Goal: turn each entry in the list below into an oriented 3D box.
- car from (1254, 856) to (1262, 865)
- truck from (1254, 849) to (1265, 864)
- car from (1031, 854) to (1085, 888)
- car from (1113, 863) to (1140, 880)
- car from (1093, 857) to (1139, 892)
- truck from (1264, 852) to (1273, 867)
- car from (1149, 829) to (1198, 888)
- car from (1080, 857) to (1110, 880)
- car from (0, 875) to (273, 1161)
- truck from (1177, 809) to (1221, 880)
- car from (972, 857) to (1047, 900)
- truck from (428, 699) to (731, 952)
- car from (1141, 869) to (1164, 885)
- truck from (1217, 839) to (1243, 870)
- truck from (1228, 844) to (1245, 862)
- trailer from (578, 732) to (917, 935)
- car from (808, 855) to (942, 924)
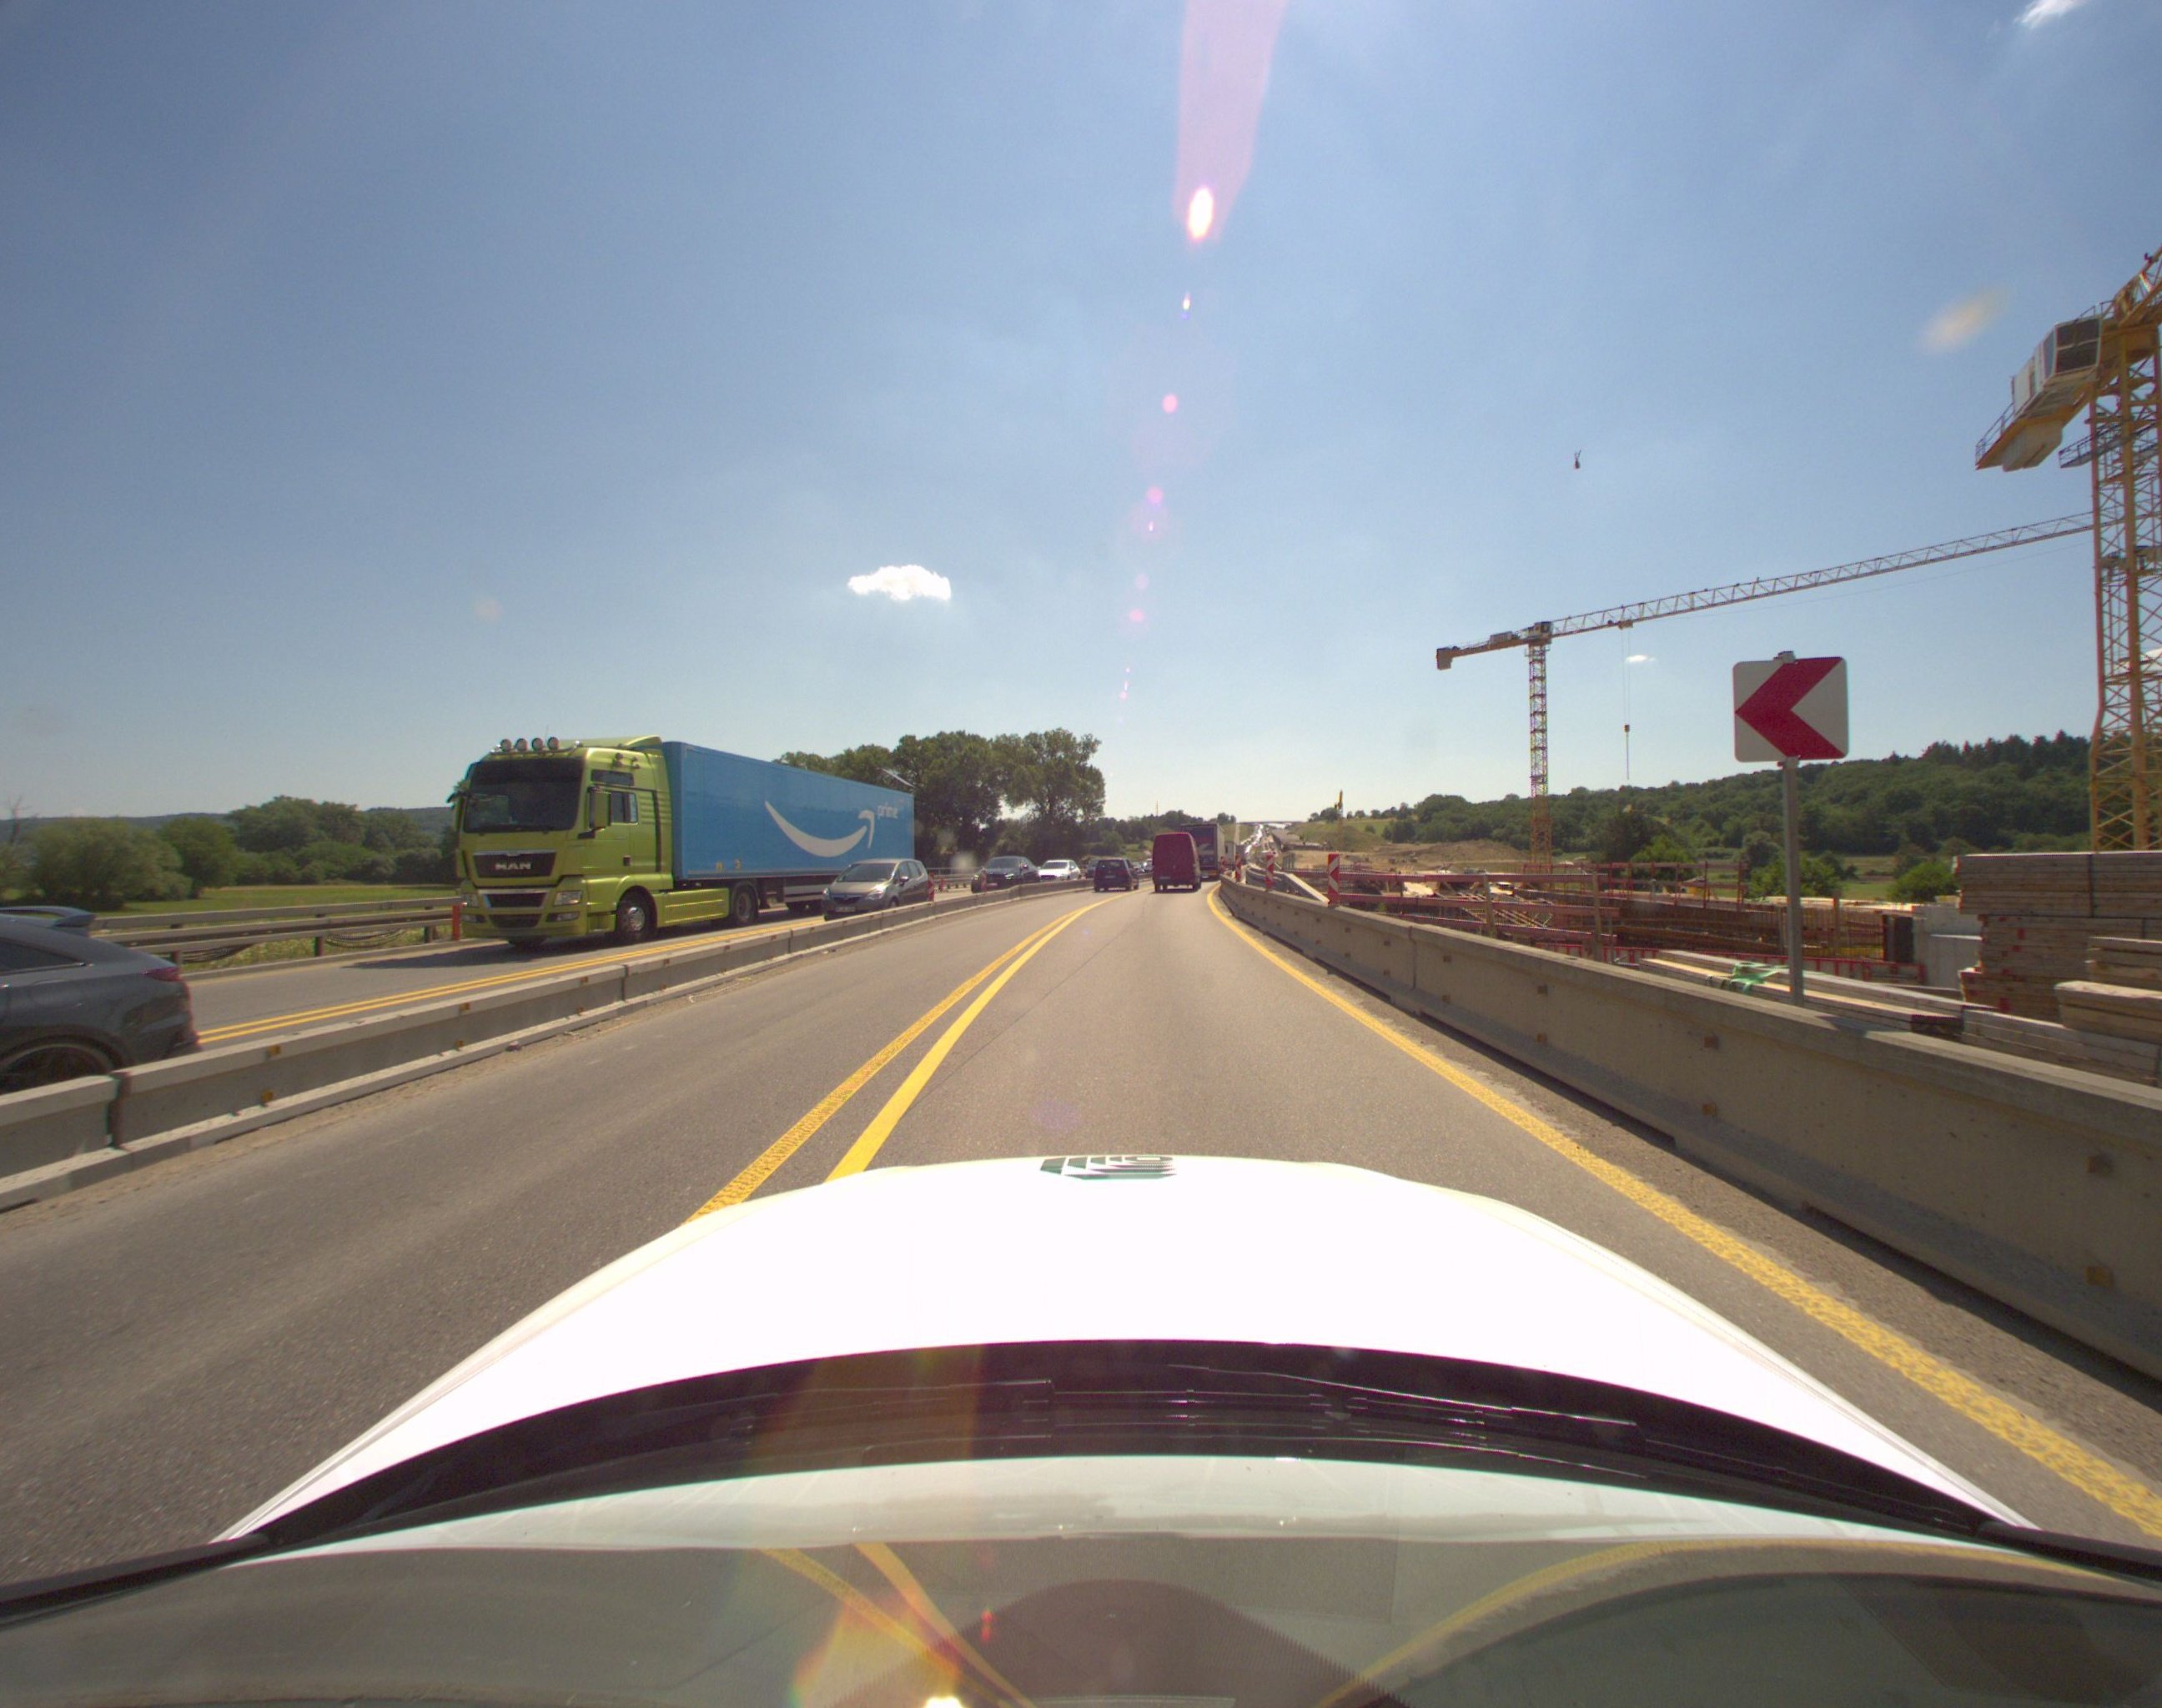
[{"bbox_3d":[35.672,1.307,164.360,1.607,1.700,3.902,0,-1,11],"label":"car"},{"bbox_3d":[40.299,0.610,184.170,2.277,3.196,6.501,-1,-1,11],"label":"truck"},{"bbox_3d":[-1.170,0.863,43.860,1.808,1.647,4.586,0,1,12],"label":"car"},{"bbox_3d":[3.807,1.421,67.434,1.658,1.365,4.453,0,-1,11],"label":"car"},{"bbox_3d":[1.803,0.998,40.780,1.723,1.635,4.401,-1,-1,10],"label":"car"},{"bbox_3d":[52.594,1.633,228.697,2.276,3.740,6.501,-1,-5,12],"label":"truck"},{"bbox_3d":[4.382,0.304,38.377,2.138,2.611,5.448,0,-2,7],"label":"car"},{"bbox_3d":[1.317,1.309,74.355,1.809,1.943,5.079,0,-1,11],"label":"car"},{"bbox_3d":[-6.449,0.856,3.249,1.814,1.435,4.583,0,0,1],"label":"car"},{"bbox_3d":[8.922,-0.605,61.038,2.926,4.946,6.760,-1,-1,10],"label":"truck"},{"bbox_3d":[-2.925,0.980,34.332,1.868,1.647,4.730,0,-1,12],"label":"car"},{"bbox_3d":[-9.574,-0.448,16.238,2.611,4.271,4.741,0,-1,8],"label":"truck"},{"bbox_3d":[7.177,2.280,81.139,1.745,1.496,4.453,0,-1,11],"label":"car"},{"bbox_3d":[20.029,0.059,108.944,3.160,3.990,6.763,-1,-1,12],"label":"truck"},{"bbox_3d":[31.292,-0.194,163.408,3.162,2.978,8.924,-1,-4,12],"label":"truck"},{"bbox_3d":[-8.454,-0.286,23.939,2.632,4.293,13.339,0,-1,9],"label":"trailer"},{"bbox_3d":[-5.152,0.827,21.011,1.810,1.585,4.311,0,0,9],"label":"car"}]
